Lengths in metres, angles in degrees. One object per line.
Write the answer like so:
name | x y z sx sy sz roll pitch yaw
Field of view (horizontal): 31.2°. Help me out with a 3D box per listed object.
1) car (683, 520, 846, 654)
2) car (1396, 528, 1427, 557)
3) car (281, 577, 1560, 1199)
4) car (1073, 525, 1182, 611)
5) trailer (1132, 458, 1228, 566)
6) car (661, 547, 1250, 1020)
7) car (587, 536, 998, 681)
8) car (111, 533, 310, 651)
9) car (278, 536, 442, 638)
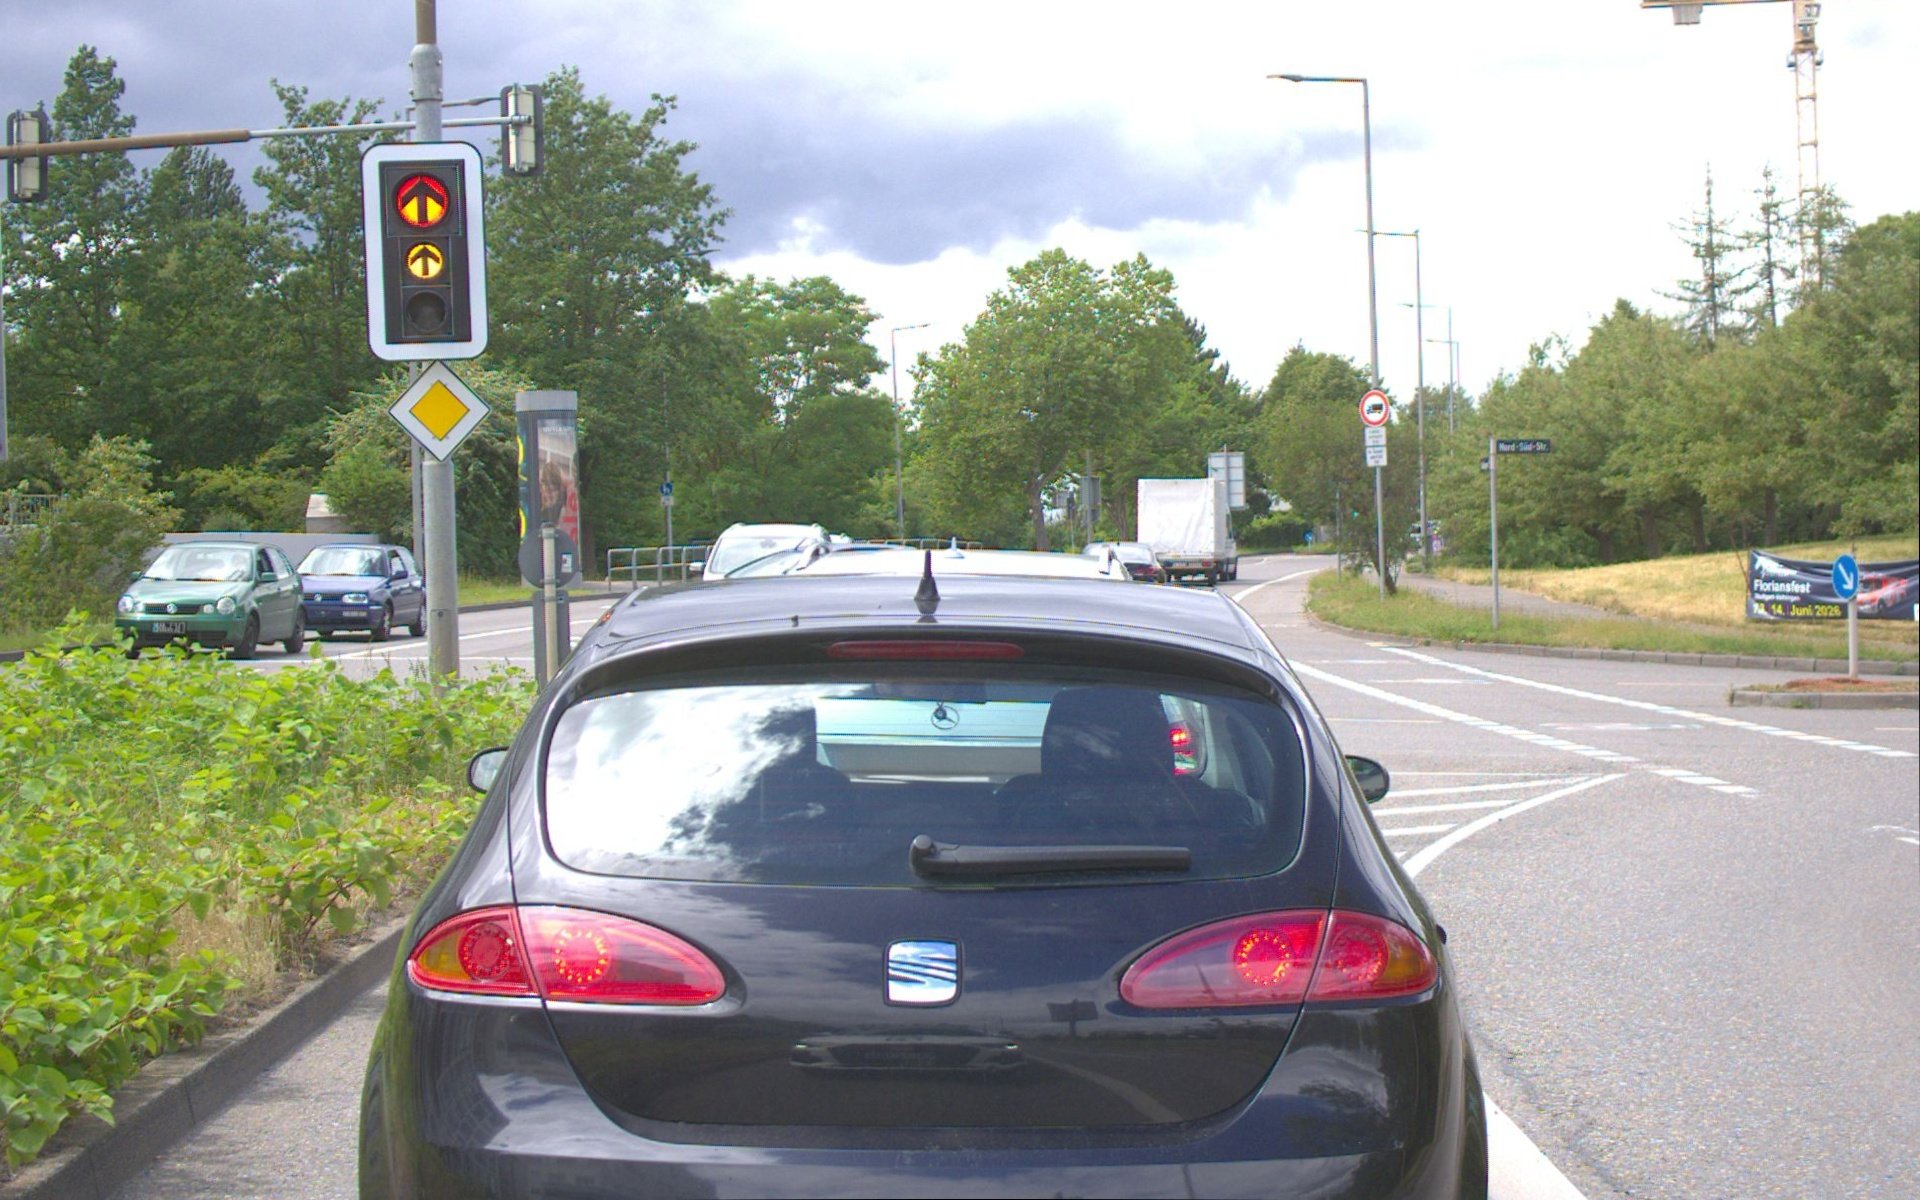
car | -2.571 -0.217 46.226 1.820 1.681 4.645 1 1 1
car | 26.123 -3.327 198.969 1.668 1.590 3.998 1 1 9
car | -0.070 0.695 6.353 1.711 1.412 3.459 1 1 0
car | 3.195 -0.634 65.347 1.994 1.560 4.470 0 1 3
trailer | 6.502 -2.548 100.962 2.492 3.063 5.585 1 1 6
car | 0.006 0.557 12.691 1.834 1.462 3.751 1 1 1
car | -1.747 0.092 35.764 3.878 1.441 1.760 1 1 -22
car | -9.429 -0.134 43.505 1.605 1.427 3.752 0 1 2
car | -8.839 -0.224 50.900 1.554 1.414 3.895 0 1 3
